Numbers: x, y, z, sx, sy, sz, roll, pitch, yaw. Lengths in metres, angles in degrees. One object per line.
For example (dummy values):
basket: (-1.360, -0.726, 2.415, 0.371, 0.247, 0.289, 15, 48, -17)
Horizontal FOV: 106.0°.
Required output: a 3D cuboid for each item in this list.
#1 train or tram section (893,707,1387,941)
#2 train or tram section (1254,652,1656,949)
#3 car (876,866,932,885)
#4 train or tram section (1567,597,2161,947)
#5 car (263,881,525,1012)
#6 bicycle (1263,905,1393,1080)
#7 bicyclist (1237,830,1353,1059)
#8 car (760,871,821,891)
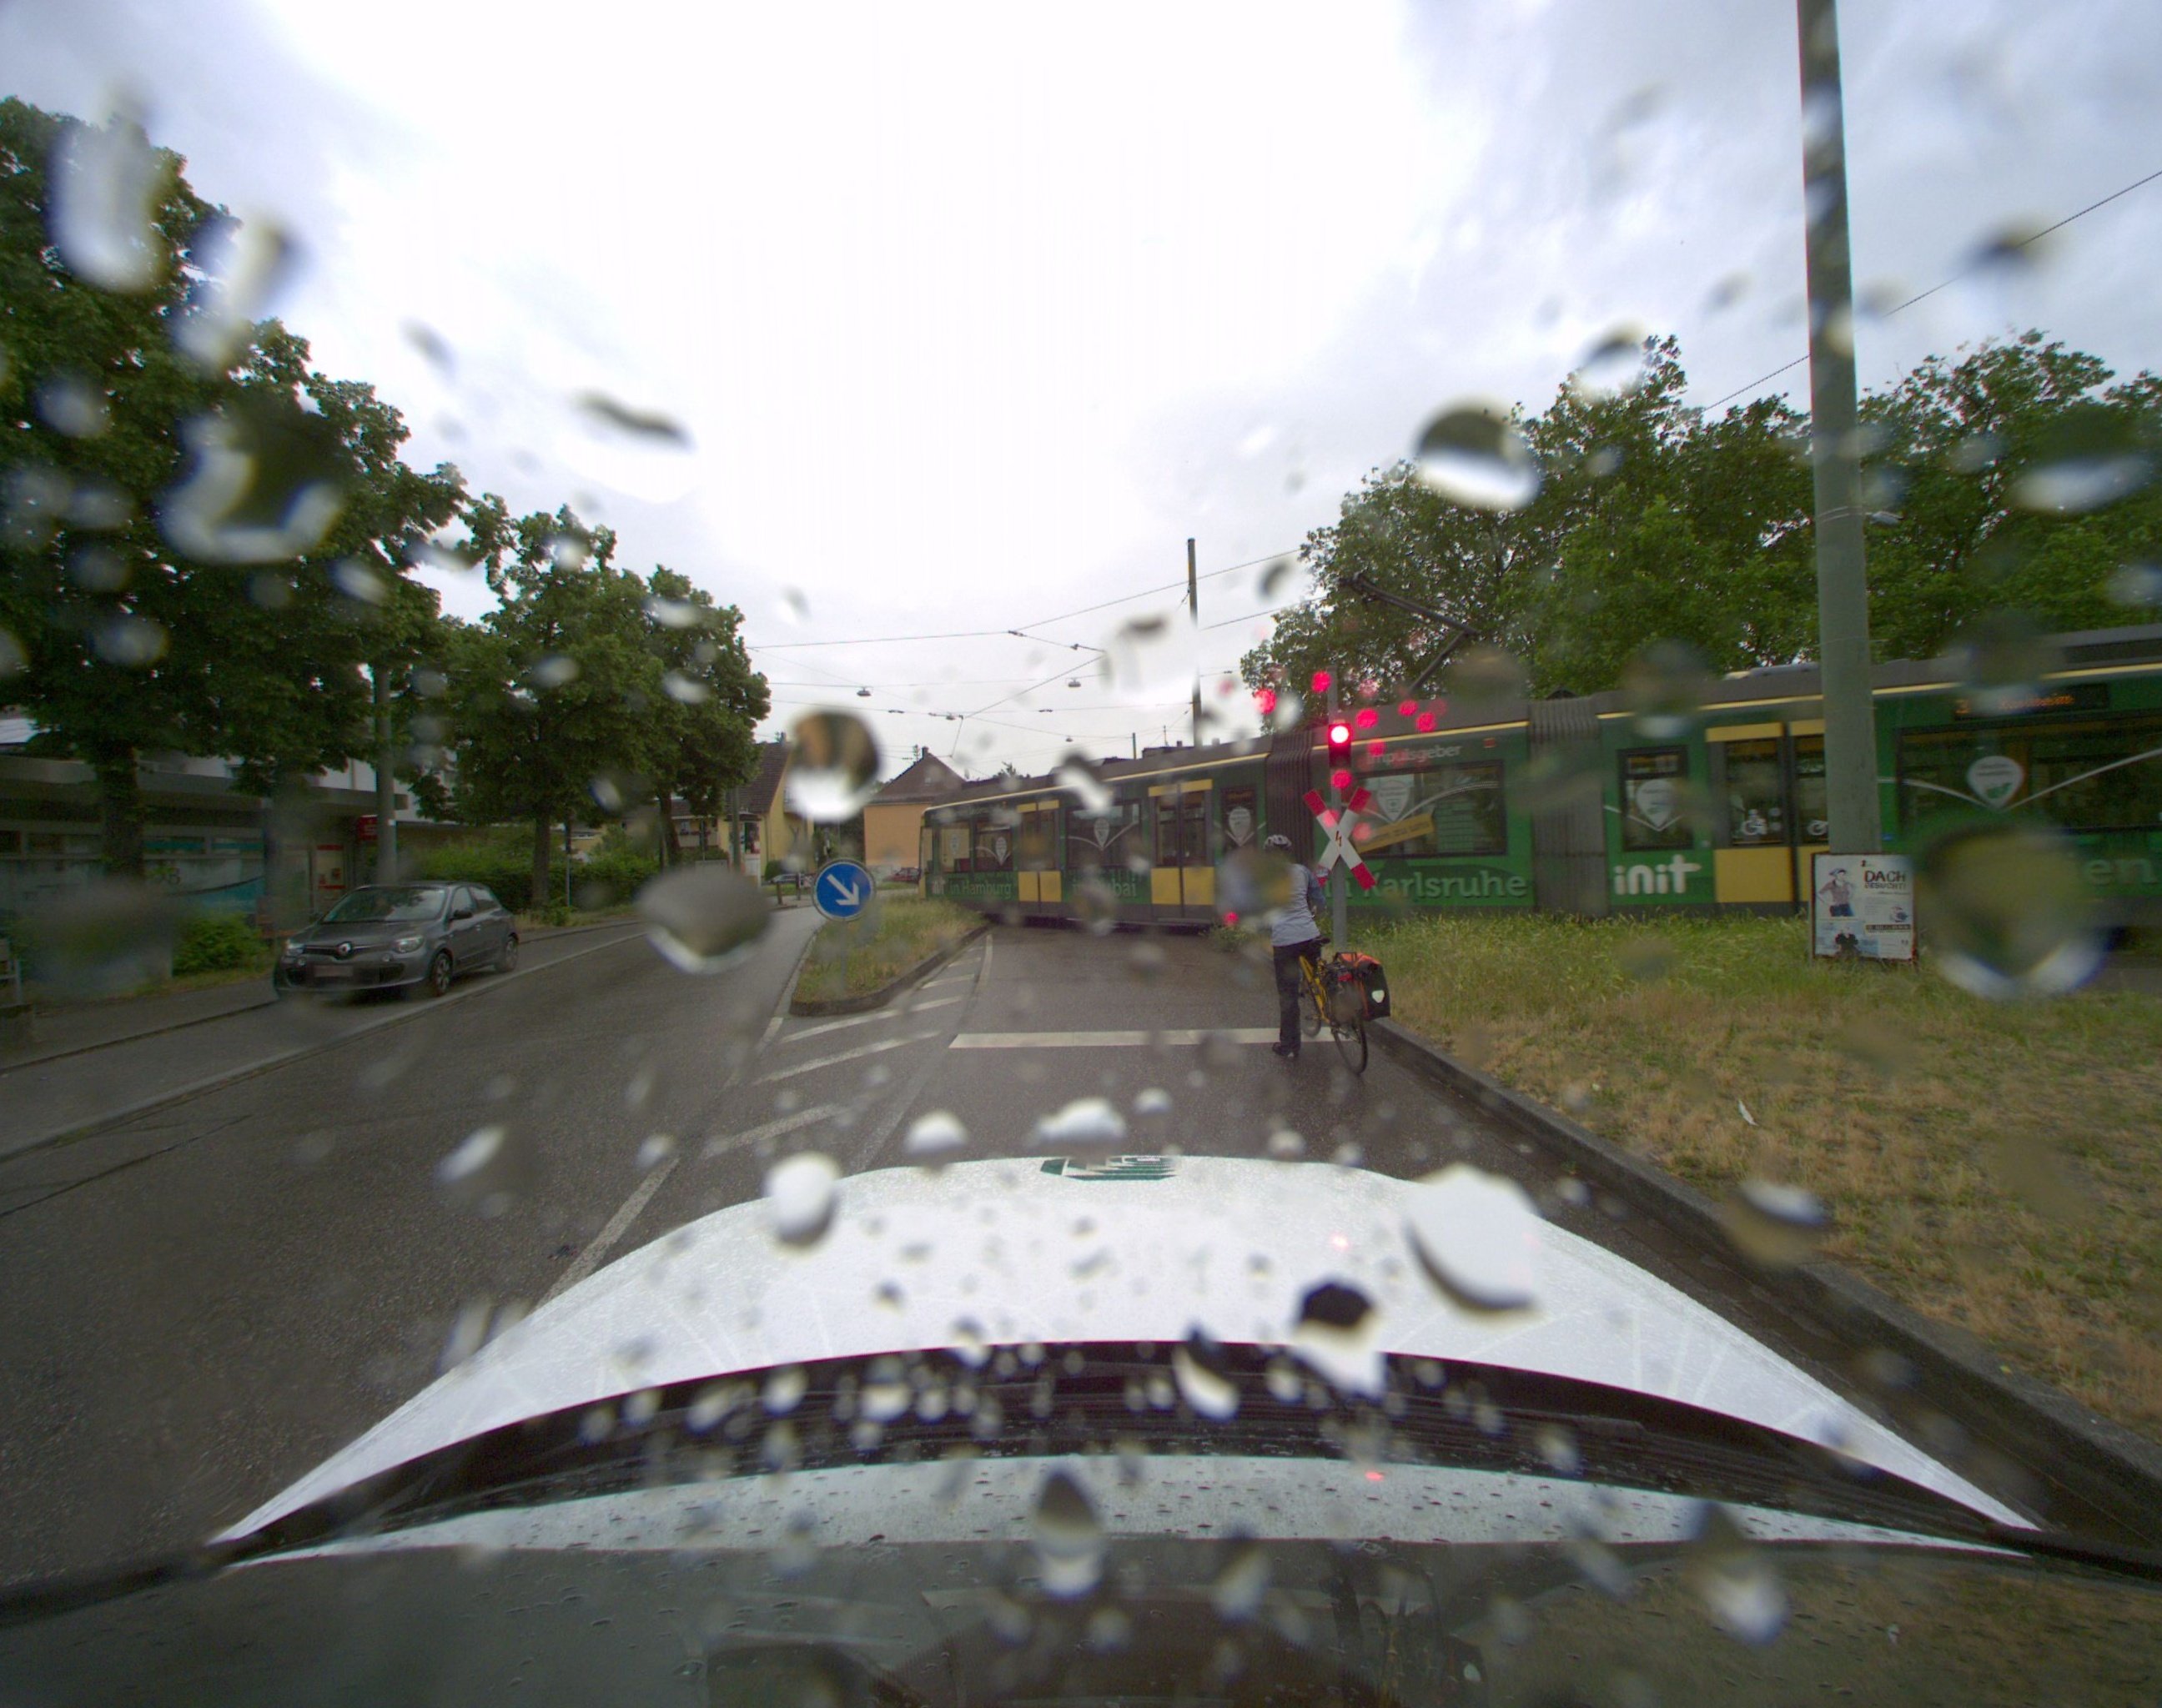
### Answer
train or tram section: (0.057, -0.292, 18.228, 2.784, 3.553, 12.979, -2, -1, -39)
train or tram section: (5.567, -0.574, 12.282, 4.923, 3.553, 2.787, -3, -1, 35)
car: (-13.661, 1.654, 63.071, 3.979, 1.456, 1.831, 0, -1, -5)
train or tram section: (12.720, -0.908, 9.133, 12.059, 3.553, 2.784, -3, -1, 21)
car: (-9.693, 1.187, 11.877, 1.621, 1.496, 3.645, 0, -1, -18)
bicycle: (1.793, 0.950, 6.137, 0.444, 1.004, 1.728, -2, 0, 1)
bicyclist: (1.608, 0.650, 6.244, 0.665, 1.626, 0.853, 0, -1, 1)
car: (-22.107, 2.033, 62.026, 3.979, 1.456, 1.831, 0, -1, -5)
